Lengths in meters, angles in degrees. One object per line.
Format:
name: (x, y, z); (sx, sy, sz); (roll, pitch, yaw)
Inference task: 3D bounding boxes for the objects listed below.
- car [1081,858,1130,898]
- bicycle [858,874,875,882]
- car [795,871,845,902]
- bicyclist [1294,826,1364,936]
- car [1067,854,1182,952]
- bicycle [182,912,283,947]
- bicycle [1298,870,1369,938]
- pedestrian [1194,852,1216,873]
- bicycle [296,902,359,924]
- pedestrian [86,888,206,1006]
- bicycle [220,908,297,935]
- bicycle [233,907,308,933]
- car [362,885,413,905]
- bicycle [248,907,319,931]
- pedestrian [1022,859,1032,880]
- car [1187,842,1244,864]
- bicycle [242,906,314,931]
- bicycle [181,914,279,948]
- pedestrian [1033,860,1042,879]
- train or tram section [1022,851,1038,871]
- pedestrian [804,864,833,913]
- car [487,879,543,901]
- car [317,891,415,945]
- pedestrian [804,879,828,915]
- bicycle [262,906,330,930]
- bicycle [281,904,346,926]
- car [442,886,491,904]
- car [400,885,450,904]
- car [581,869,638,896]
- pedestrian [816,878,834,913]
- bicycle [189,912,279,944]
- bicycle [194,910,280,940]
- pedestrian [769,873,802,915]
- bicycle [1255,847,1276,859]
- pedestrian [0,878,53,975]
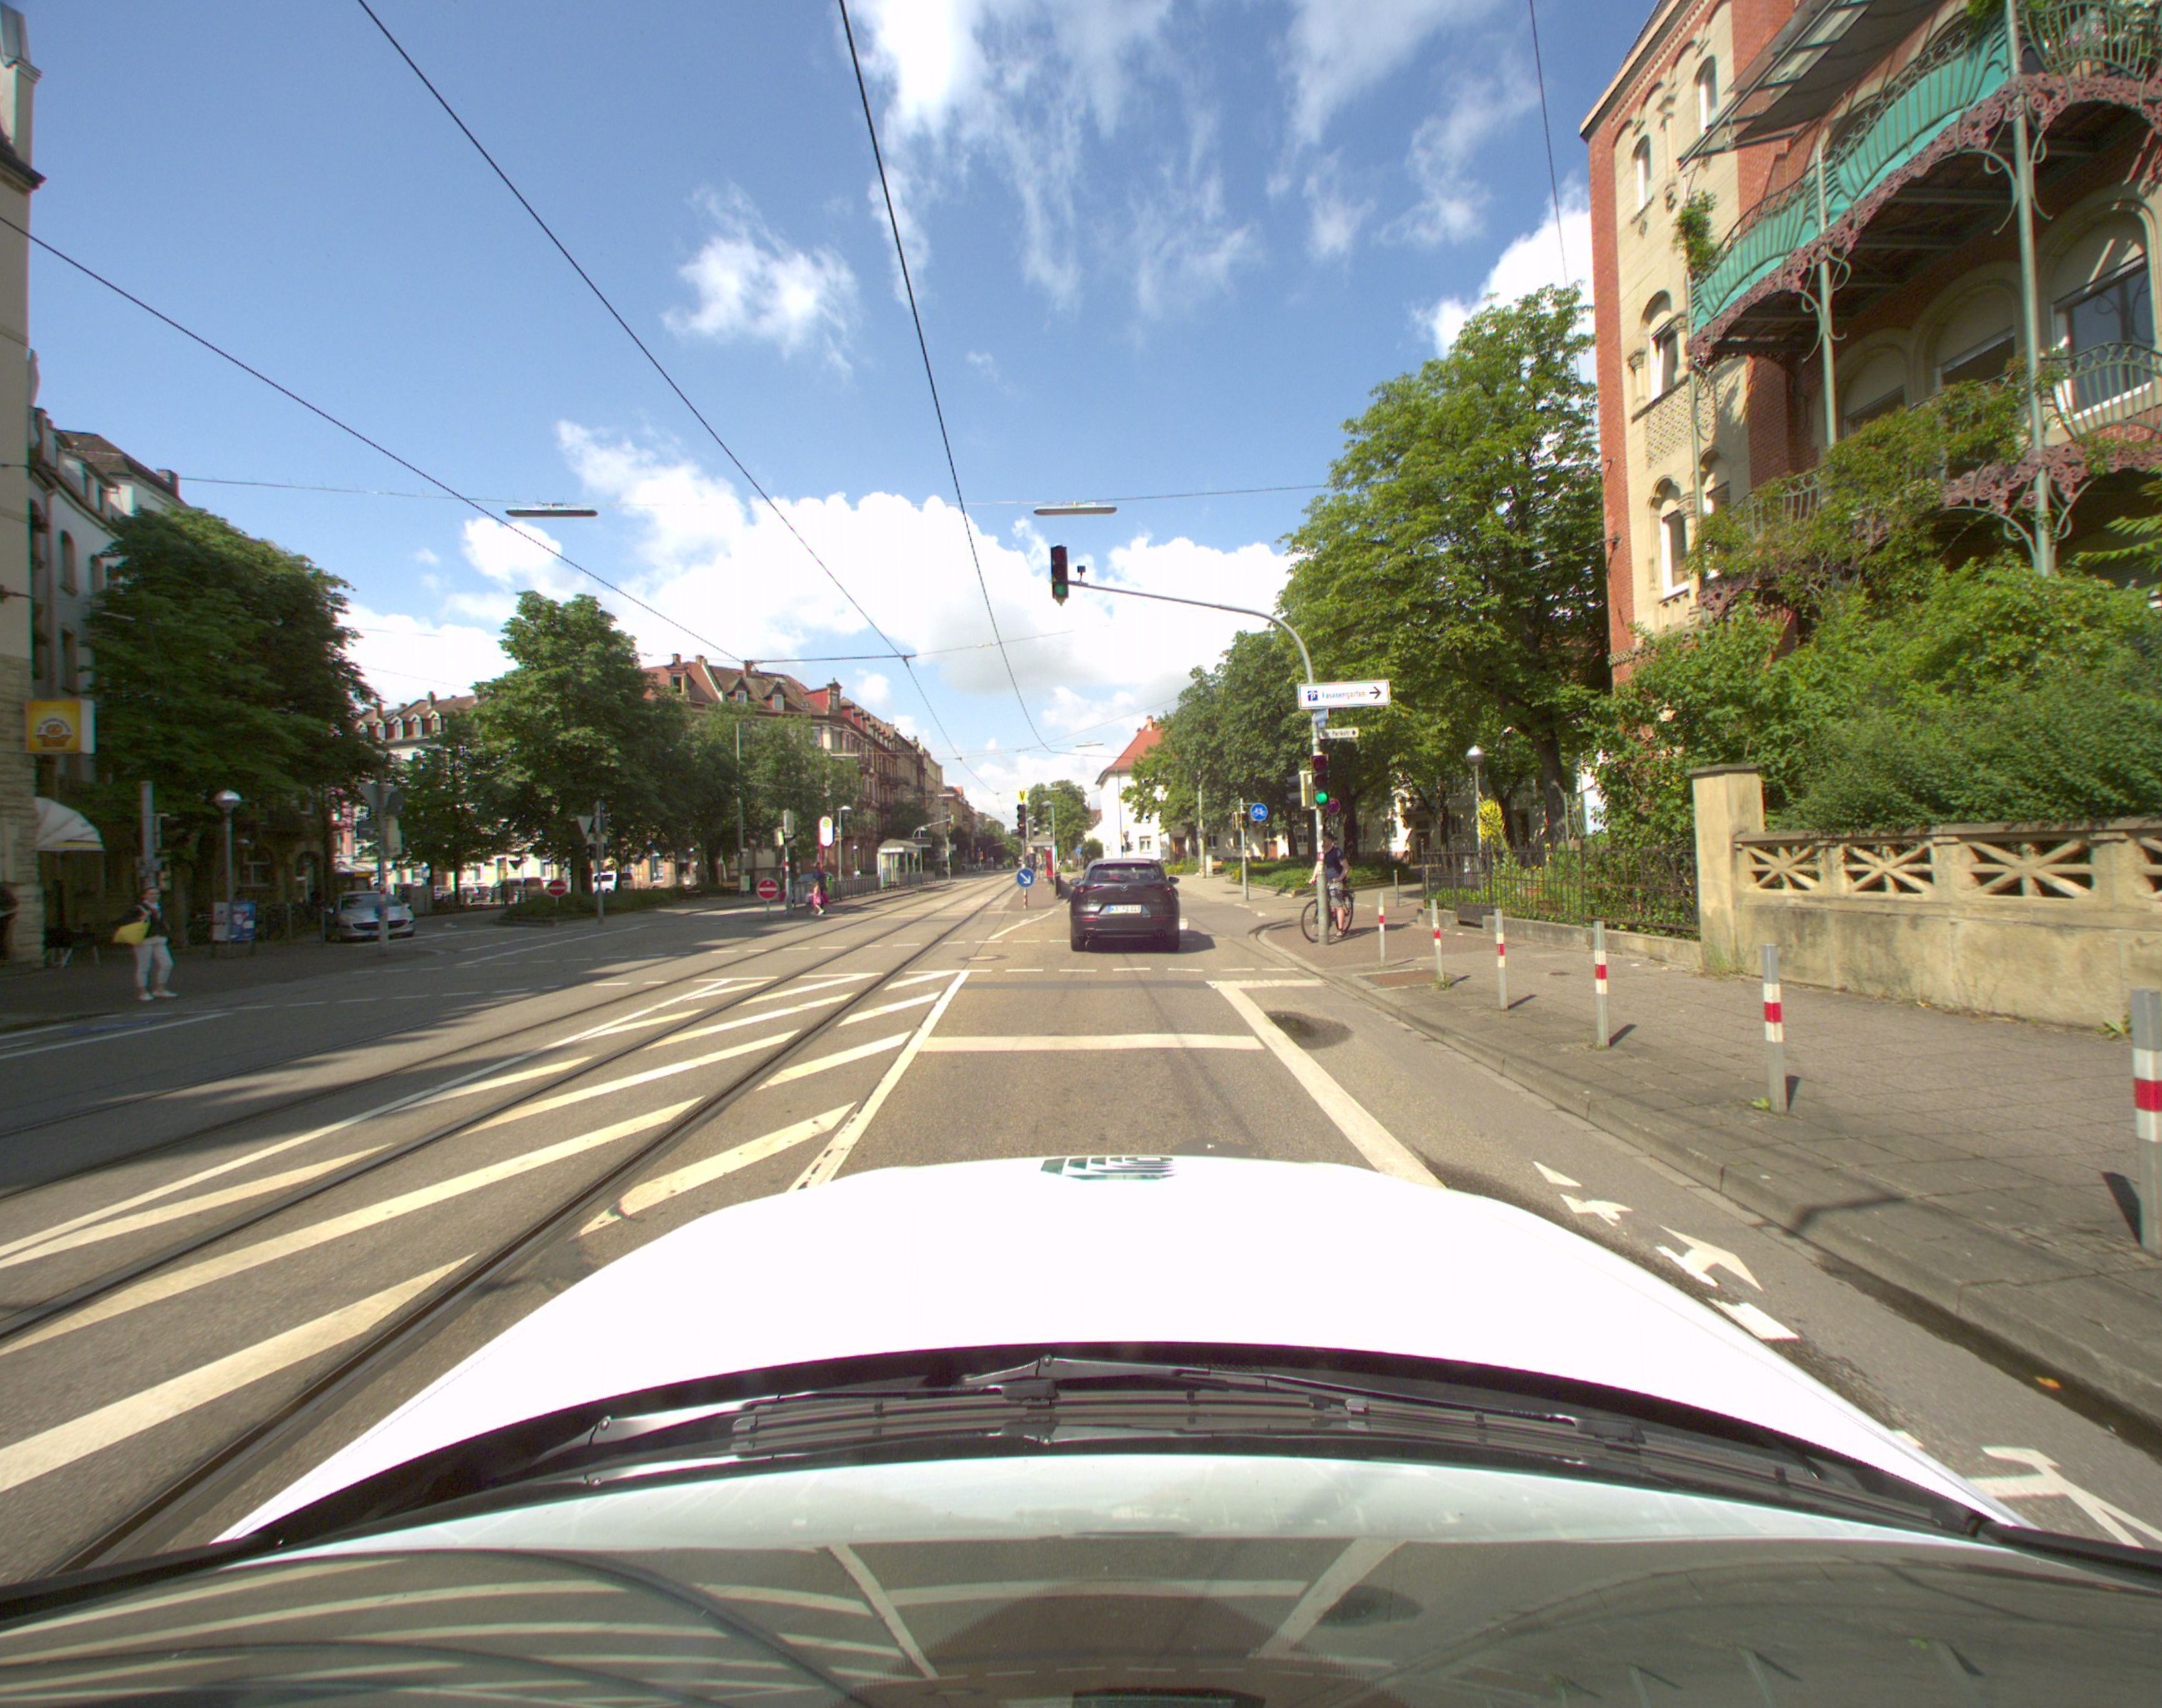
car: (0.913, 0.905, 32.402); (1.770, 1.464, 3.840); (-1, -1, -1)
bicycle: (-21.138, 2.376, 80.269); (0.381, 0.747, 1.722); (-3, -1, 34)
car: (-13.515, 1.660, 42.305); (1.621, 1.387, 3.431); (-4, 0, -4)
bicyclist: (4.261, 0.451, 14.027); (0.736, 1.819, 0.814); (-2, -1, -25)
car: (0.736, 0.781, 14.639); (1.775, 1.514, 4.001); (0, -1, 2)
bicycle: (-25.003, 2.214, 24.036); (0.516, 0.882, 2.043); (-3, -2, 44)
bicycle: (4.425, 0.837, 14.177); (0.385, 1.035, 1.857); (-3, 0, 42)
pedestrian: (8.050, 0.553, 52.930); (1.191, 1.269, 0.556); (-4, -1, -8)
bicycle: (-34.701, 2.712, 37.533); (2.037, 0.898, 0.566); (-1, -2, -30)
pedestrian: (-14.380, 1.400, 12.560); (0.754, 1.705, 0.873); (2, -1, -3)
bicycle: (-31.822, 2.592, 31.554); (2.040, 0.898, 0.540); (0, -2, -37)
bicycle: (-32.448, 2.620, 32.636); (2.040, 0.898, 0.566); (0, -2, -36)
car: (-62.316, 3.673, 73.189); (3.875, 1.555, 1.726); (-3, -1, 19)
bicycle: (-33.384, 2.720, 34.131); (2.039, 0.898, 0.566); (-1, -2, -33)
pedestrian: (-4.491, 1.266, 67.655); (0.769, 1.675, 0.667); (-2, -1, -3)
car: (10.871, -0.070, 66.049); (4.118, 1.510, 1.863); (-3, 1, 40)
bicycle: (-32.955, 2.636, 33.464); (2.039, 0.898, 0.566); (-1, -2, -33)
bicycle: (-25.996, 2.329, 24.922); (0.505, 0.882, 2.043); (-3, -2, 44)
pedestrian: (-3.577, 1.274, 66.825); (0.666, 1.546, 0.580); (-2, -1, -3)
train or tram section: (-11.063, 1.634, 178.013); (2.990, 3.984, 13.796); (-2, -1, -2)
pedestrian: (-8.638, 1.135, 26.836); (0.727, 1.565, 0.797); (-2, -1, -7)
car: (-47.446, 3.025, 68.288); (3.895, 1.663, 1.926); (-3, -1, 20)
car: (-21.855, 1.908, 24.852); (3.823, 1.420, 1.732); (-3, -1, 41)
pedestrian: (-8.545, 1.378, 26.269); (0.640, 1.114, 0.442); (-2, -1, -7)
bicycle: (-34.026, 2.775, 35.314); (2.037, 0.898, 0.566); (-1, -2, -30)
bicycle: (-34.495, 2.731, 36.649); (2.037, 0.898, 0.566); (-1, -2, -30)
car: (-52.696, 3.505, 69.805); (3.652, 1.393, 1.501); (-3, -1, 18)
car: (-57.775, 3.578, 71.697); (3.606, 1.494, 1.638); (-3, -1, 18)
car: (-37.972, 2.259, 65.534); (3.901, 1.988, 1.866); (-2, -1, 21)
pedestrian: (-8.607, 1.388, 27.423); (0.437, 1.108, 0.422); (-4, -1, -7)
bicycle: (-27.778, 2.418, 26.754); (0.505, 0.882, 2.043); (-3, -2, 44)
bicycle: (-28.952, 2.435, 27.980); (0.539, 0.882, 2.043); (-3, -2, 44)
pedestrian: (-9.982, 1.343, 27.543); (0.825, 1.303, 0.715); (-4, -1, -7)
bicycle: (16.353, -0.100, 72.228); (0.570, 1.020, 1.733); (-4, 1, -39)
pedestrian: (-19.393, 1.299, 14.587); (0.818, 1.672, 0.856); (-2, -1, -4)
